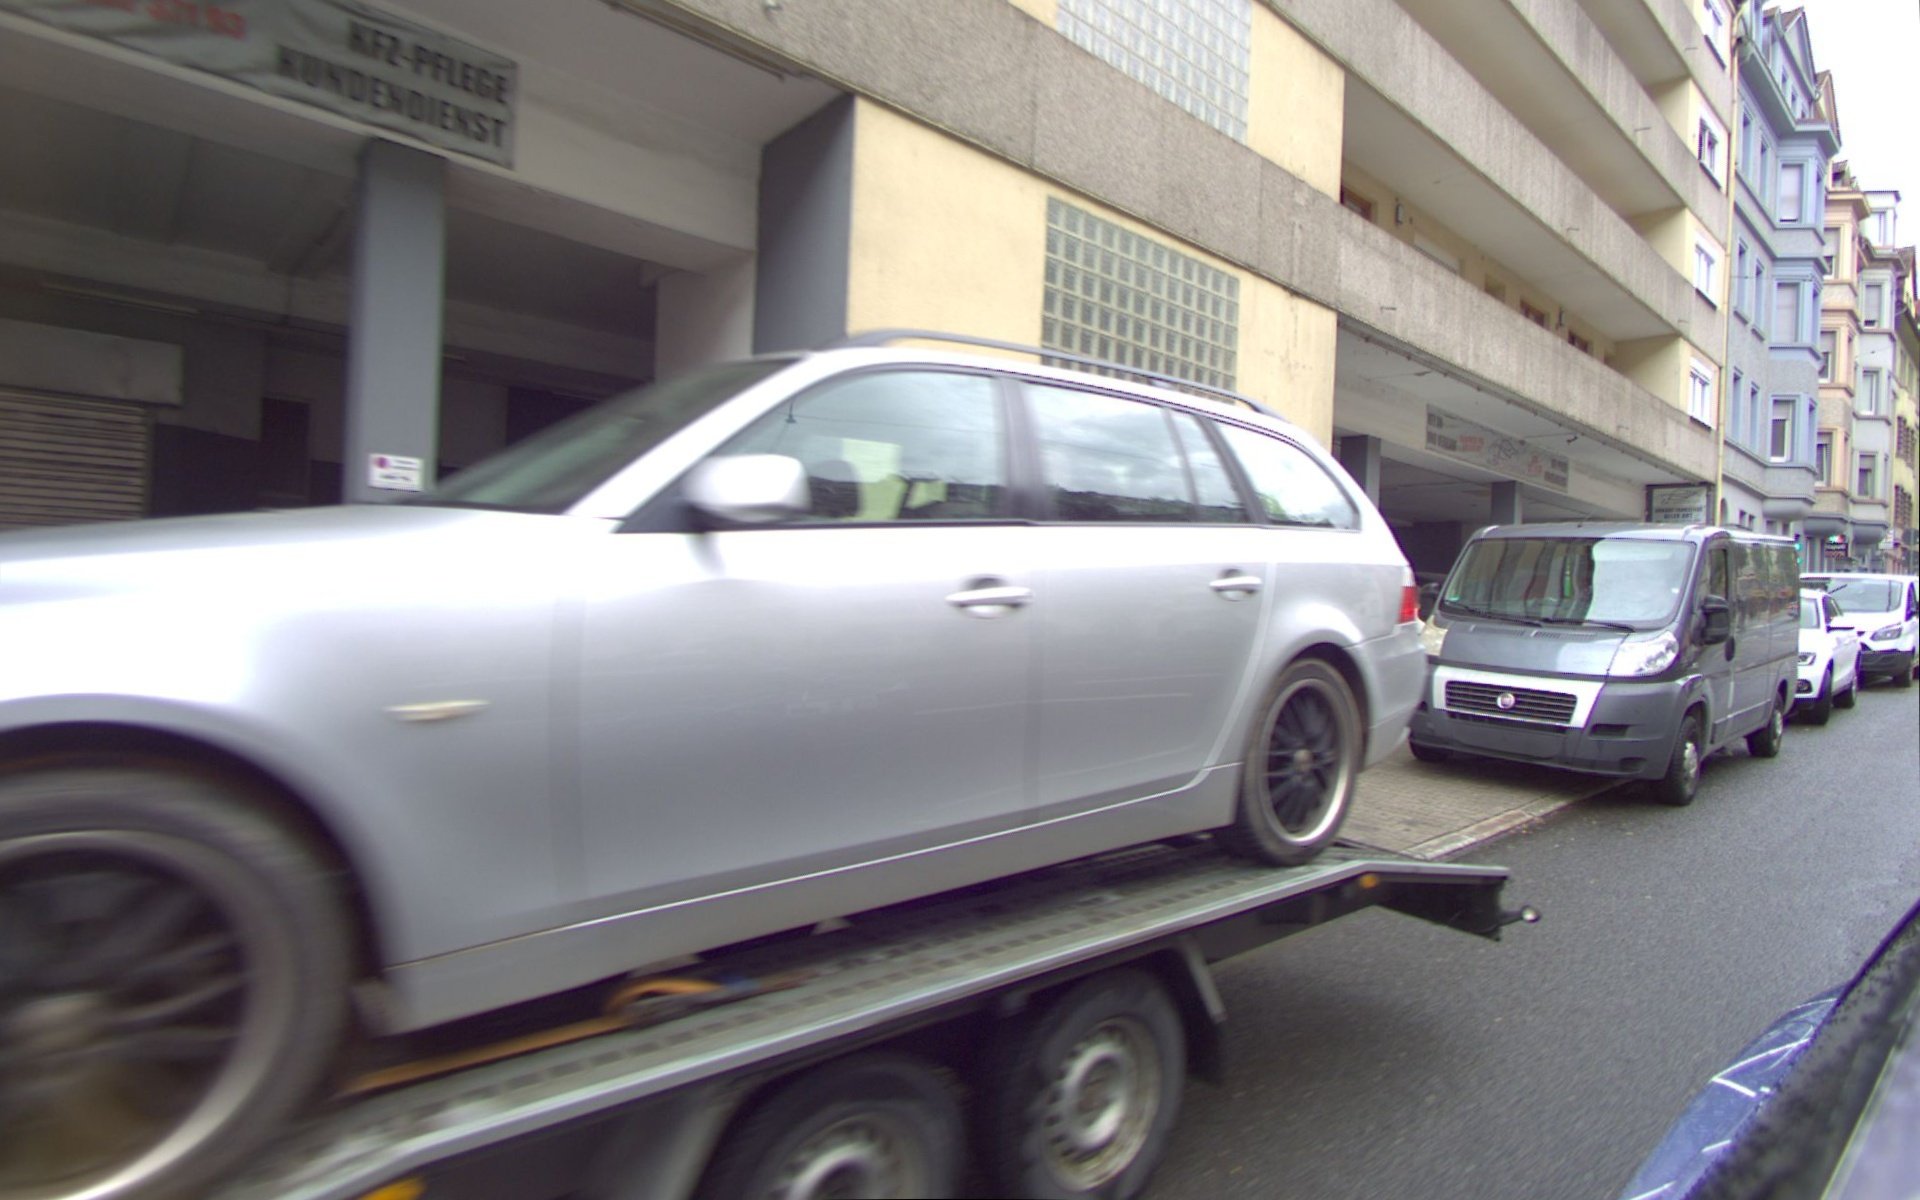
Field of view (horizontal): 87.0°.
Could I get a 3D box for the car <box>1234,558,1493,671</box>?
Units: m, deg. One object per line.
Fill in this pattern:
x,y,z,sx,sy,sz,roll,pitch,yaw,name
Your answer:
6.746,0.150,17.431,1.775,1.661,4.046,1,2,-22,car

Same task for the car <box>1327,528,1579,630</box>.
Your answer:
8.931,-0.433,18.722,1.775,1.661,3.966,1,2,-22,car

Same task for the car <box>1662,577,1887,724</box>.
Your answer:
11.165,0.548,13.770,4.201,1.660,1.749,-1,2,-42,car

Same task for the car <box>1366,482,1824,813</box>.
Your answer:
6.039,0.246,9.271,5.416,2.175,2.157,-1,2,-42,car

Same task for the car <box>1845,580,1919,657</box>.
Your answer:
22.351,0.394,23.811,4.237,1.617,1.731,-1,4,-42,car

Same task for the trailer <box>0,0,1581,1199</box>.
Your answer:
-0.274,0.290,3.009,4.980,2.179,1.999,1,2,-39,trailer

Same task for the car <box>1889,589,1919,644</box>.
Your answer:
27.890,0.447,28.768,4.283,1.460,1.730,-1,2,-42,car

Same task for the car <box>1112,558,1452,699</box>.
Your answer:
4.437,0.282,14.205,4.215,1.676,1.776,2,2,35,car

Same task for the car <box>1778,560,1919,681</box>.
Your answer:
17.075,0.295,18.923,4.740,1.980,1.993,-1,2,-42,car
